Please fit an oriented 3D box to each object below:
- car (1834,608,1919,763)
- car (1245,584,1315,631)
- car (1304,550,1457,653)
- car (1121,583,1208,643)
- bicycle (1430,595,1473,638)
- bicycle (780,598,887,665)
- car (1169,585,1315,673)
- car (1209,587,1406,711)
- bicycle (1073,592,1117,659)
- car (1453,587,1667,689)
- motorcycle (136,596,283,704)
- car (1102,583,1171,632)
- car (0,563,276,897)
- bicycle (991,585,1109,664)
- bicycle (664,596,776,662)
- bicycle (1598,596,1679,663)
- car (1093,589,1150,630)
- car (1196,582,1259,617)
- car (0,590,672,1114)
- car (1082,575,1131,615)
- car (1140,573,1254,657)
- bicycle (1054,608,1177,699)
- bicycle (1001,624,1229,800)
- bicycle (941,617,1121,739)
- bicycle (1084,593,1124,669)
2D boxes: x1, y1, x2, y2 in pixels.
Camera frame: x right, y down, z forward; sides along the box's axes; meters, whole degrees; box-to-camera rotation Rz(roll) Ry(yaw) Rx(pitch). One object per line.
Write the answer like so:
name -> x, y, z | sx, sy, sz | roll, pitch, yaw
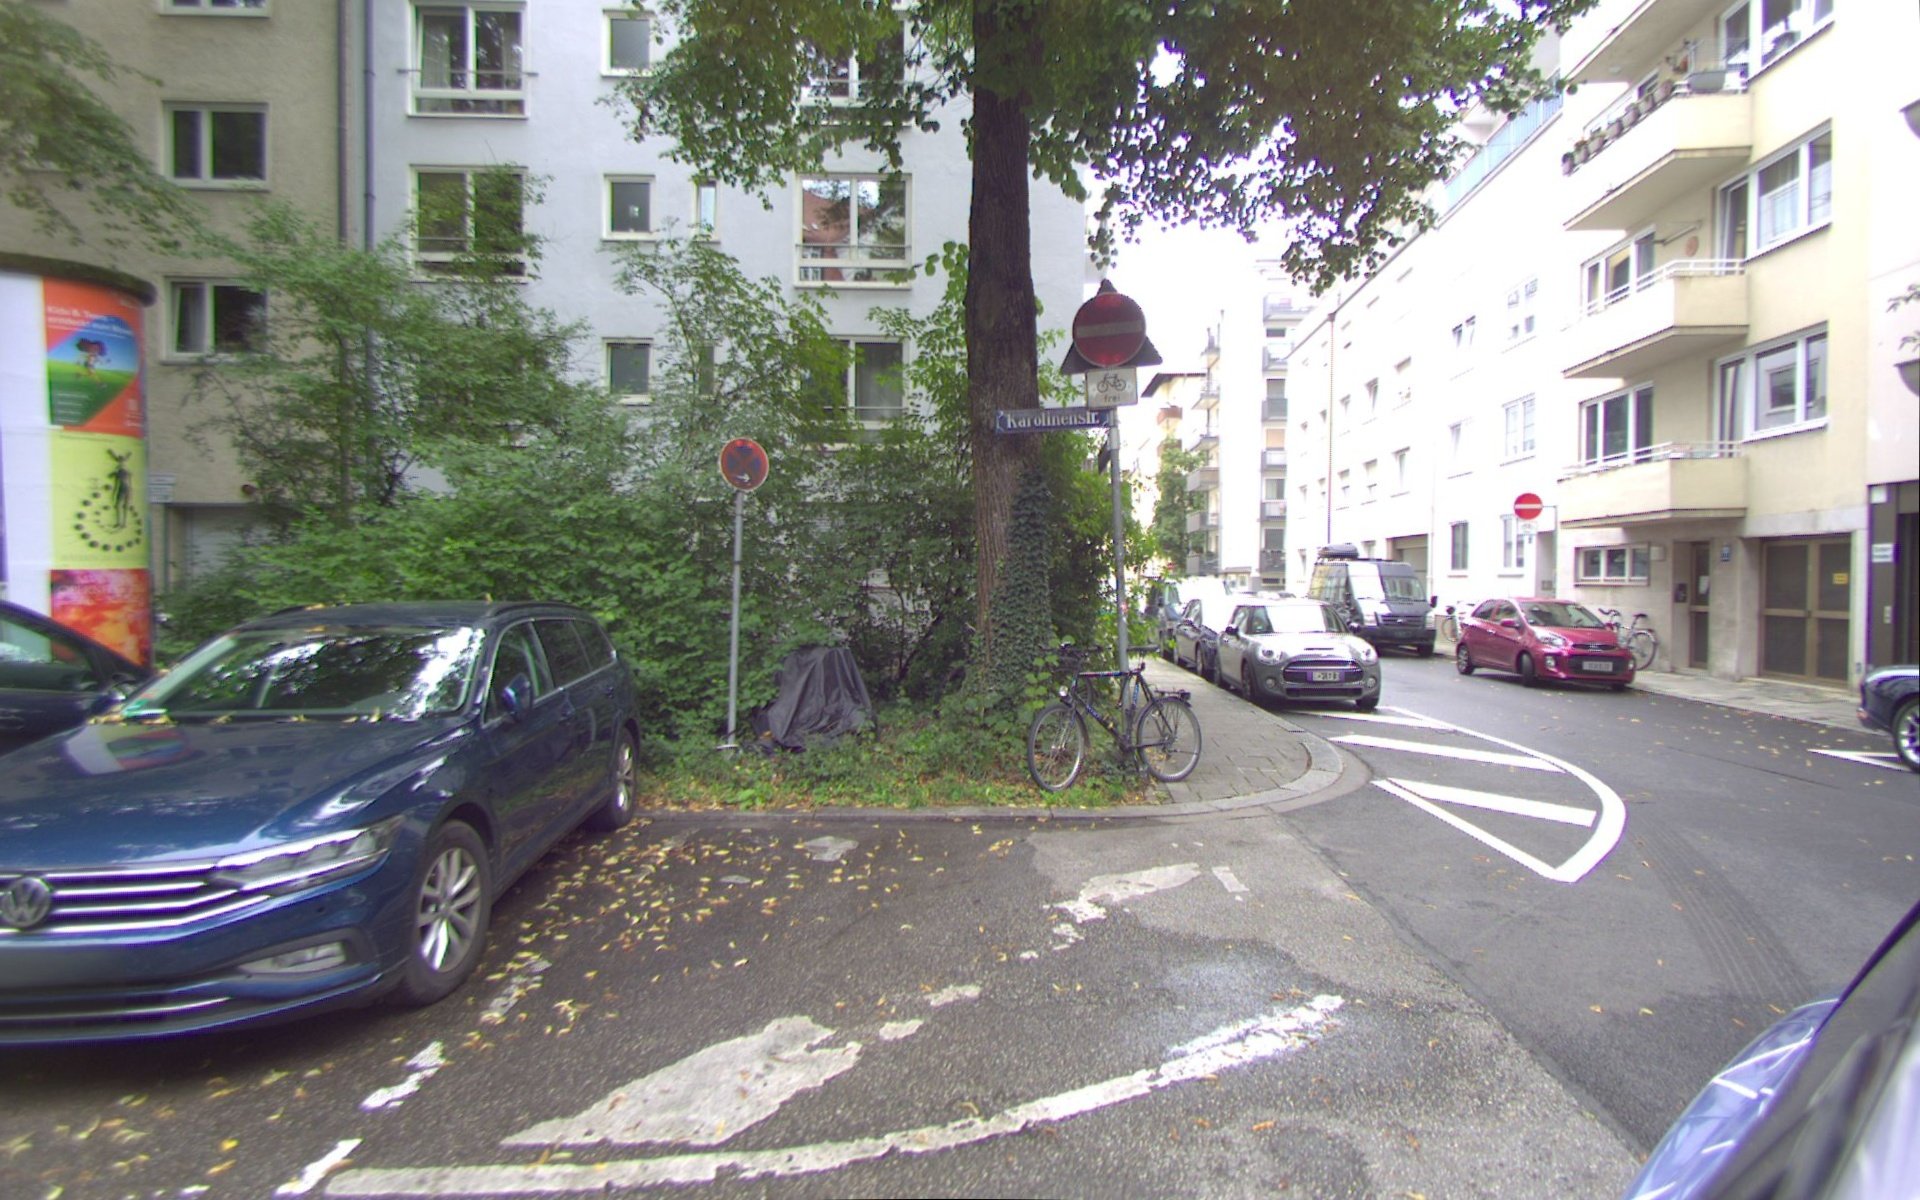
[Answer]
car -> 9.002, 0.802, 7.163 | 1.770, 1.294, 4.613 | 2, 1, 4
car -> 11.481, 0.224, 36.522 | 1.589, 1.464, 3.738 | 3, 2, 5
car -> 10.656, -0.039, 26.154 | 1.989, 2.307, 5.385 | 2, 2, 4
car -> 5.958, 0.316, 29.947 | 1.877, 1.573, 4.622 | 0, 2, 4
bicycle -> 13.638, 0.443, 28.139 | 0.456, 1.111, 1.868 | 0, 1, 5
bicycle -> -2.017, 0.500, 16.253 | 1.669, 1.036, 0.539 | 0, 0, -2
car -> 5.180, 0.454, 19.131 | 1.806, 1.437, 4.056 | 1, 1, 3
car -> 4.779, 0.573, 14.502 | 1.718, 1.459, 3.995 | 1, 1, 5
bicycle -> 2.652, 0.465, 20.048 | 0.613, 1.235, 2.248 | 0, 1, 1
car -> 10.138, 0.553, 17.428 | 1.595, 1.515, 3.706 | 1, 1, 3
motorcycle -> -9.268, 0.571, 12.587 | 0.677, 1.212, 1.810 | 0, 1, -8
car -> 6.050, 0.206, 35.070 | 1.733, 1.448, 4.260 | -3, 1, 2
car -> -5.383, 0.615, 4.735 | 1.722, 1.575, 3.986 | 0, 1, -1
bicycle -> 1.445, 0.384, 16.362 | 1.817, 1.245, 0.578 | -1, 0, -3
bicycle -> -3.831, 0.456, 16.239 | 1.669, 1.036, 0.539 | 0, 0, -2
bicycle -> 12.612, 0.525, 18.862 | 0.460, 1.163, 1.758 | 0, 1, 5
car -> 6.311, 0.325, 39.906 | 1.708, 1.447, 4.201 | 0, 2, 2
car -> 12.122, -0.050, 46.164 | 1.884, 1.455, 4.805 | 0, 2, 4
car -> -2.904, 0.681, 5.169 | 1.921, 1.394, 4.739 | 0, 1, -5
car -> 7.289, -0.305, 50.686 | 1.953, 1.862, 5.180 | -1, 1, 4
car -> 5.545, 0.258, 24.241 | 1.847, 1.813, 4.779 | 0, 2, 4
bicycle -> 1.966, 0.656, 12.968 | 0.444, 1.069, 1.631 | -1, 1, -43
bicycle -> 1.191, 0.788, 7.634 | 1.738, 1.152, 0.555 | -1, 1, -30
bicycle -> 0.664, 0.713, 9.624 | 1.601, 1.069, 0.607 | 0, 0, -10
bicycle -> 2.502, 0.509, 17.769 | 0.551, 1.235, 1.915 | 0, 1, 4
